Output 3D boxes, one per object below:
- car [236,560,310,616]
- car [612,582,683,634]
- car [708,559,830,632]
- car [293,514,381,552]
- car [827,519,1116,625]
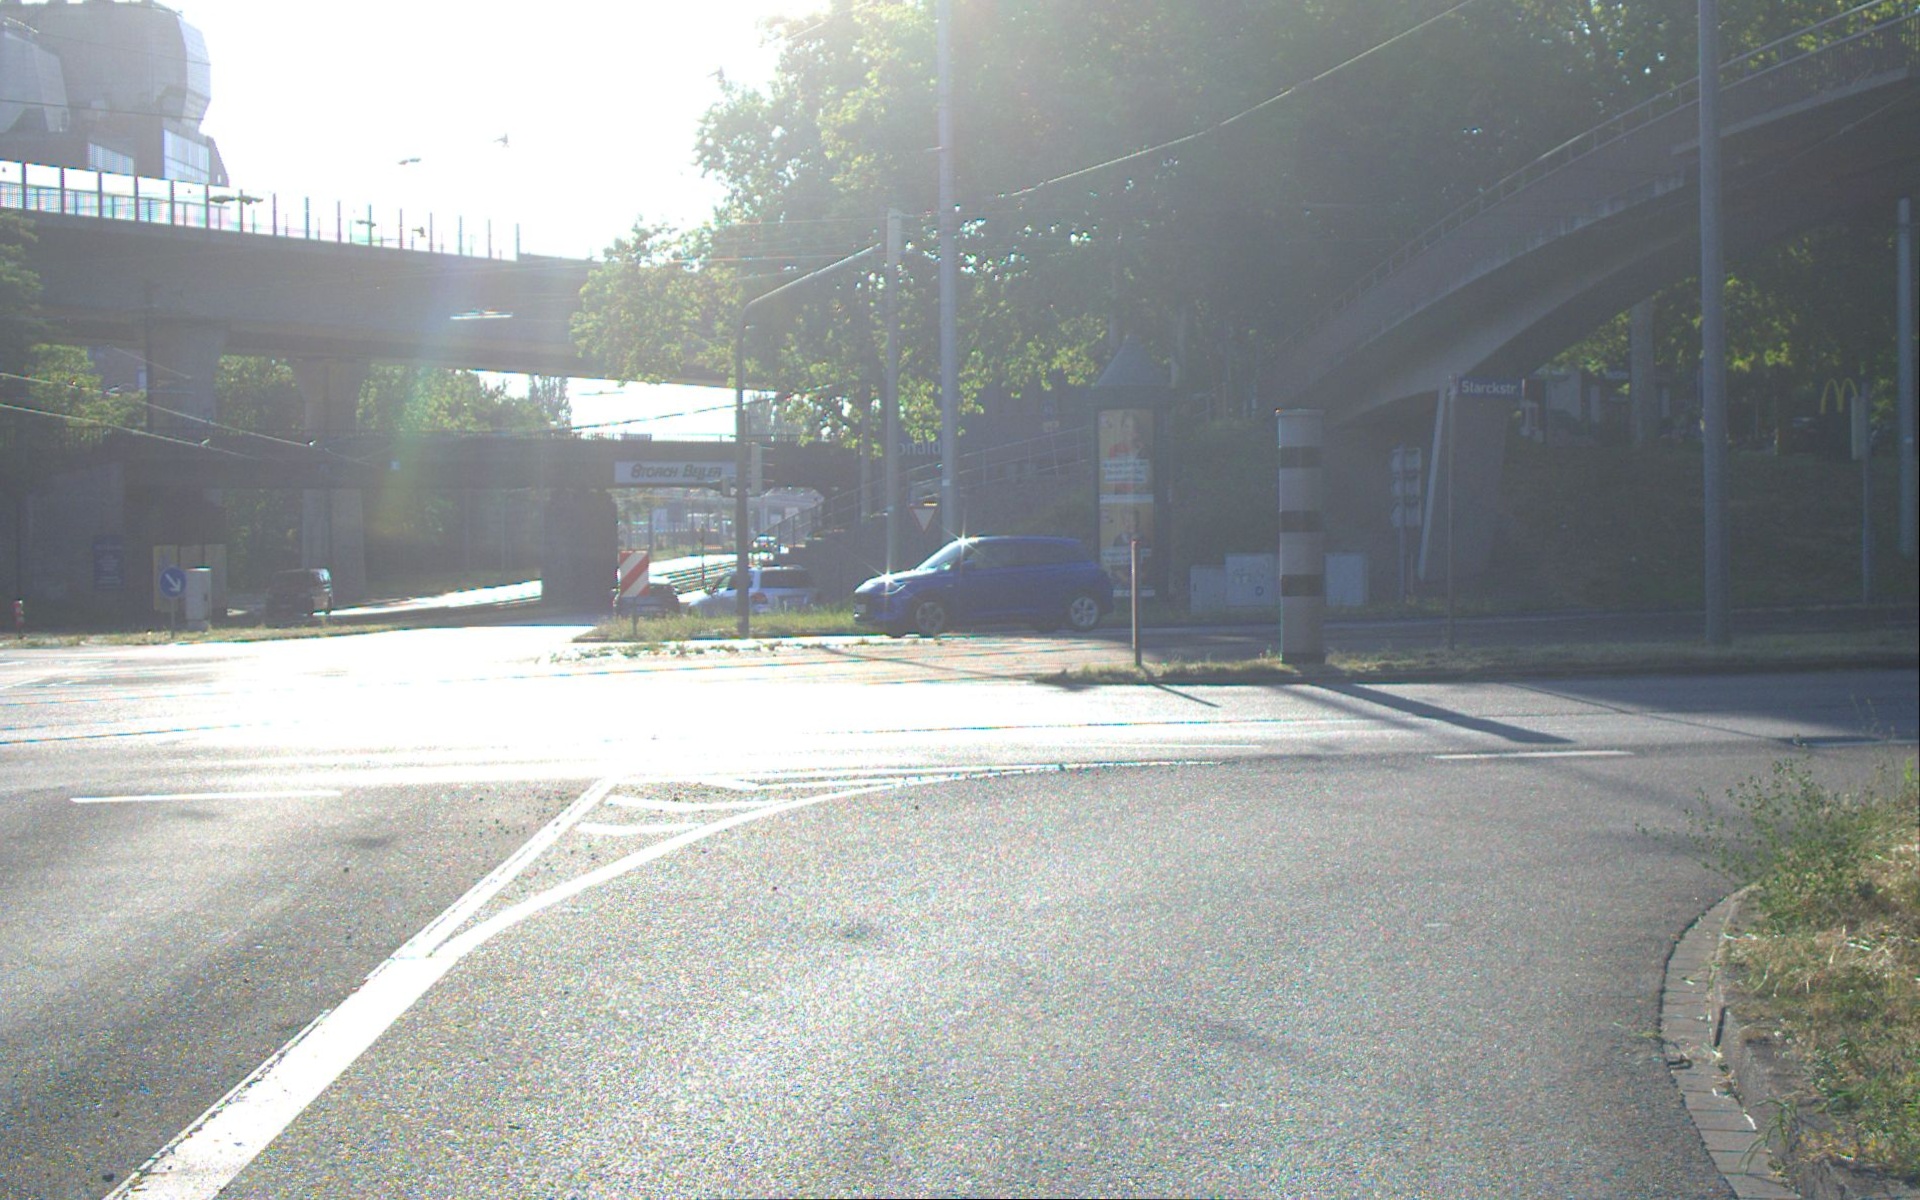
[{"bbox_3d":[-20.719,-0.377,103.775,1.711,1.647,4.096,0,1,-4],"label":"car"},{"bbox_3d":[-8.976,0.222,99.041,1.691,1.417,4.151,0,1,0],"label":"car"},{"bbox_3d":[-4.478,-0.128,80.026,1.710,1.647,4.220,0,1,-20],"label":"car"},{"bbox_3d":[-29.955,-3.225,165.489,1.997,1.765,3.993,1,1,32],"label":"car"},{"bbox_3d":[0.158,-0.426,51.867,3.921,1.553,2.001,0,1,-19],"label":"car"}]
